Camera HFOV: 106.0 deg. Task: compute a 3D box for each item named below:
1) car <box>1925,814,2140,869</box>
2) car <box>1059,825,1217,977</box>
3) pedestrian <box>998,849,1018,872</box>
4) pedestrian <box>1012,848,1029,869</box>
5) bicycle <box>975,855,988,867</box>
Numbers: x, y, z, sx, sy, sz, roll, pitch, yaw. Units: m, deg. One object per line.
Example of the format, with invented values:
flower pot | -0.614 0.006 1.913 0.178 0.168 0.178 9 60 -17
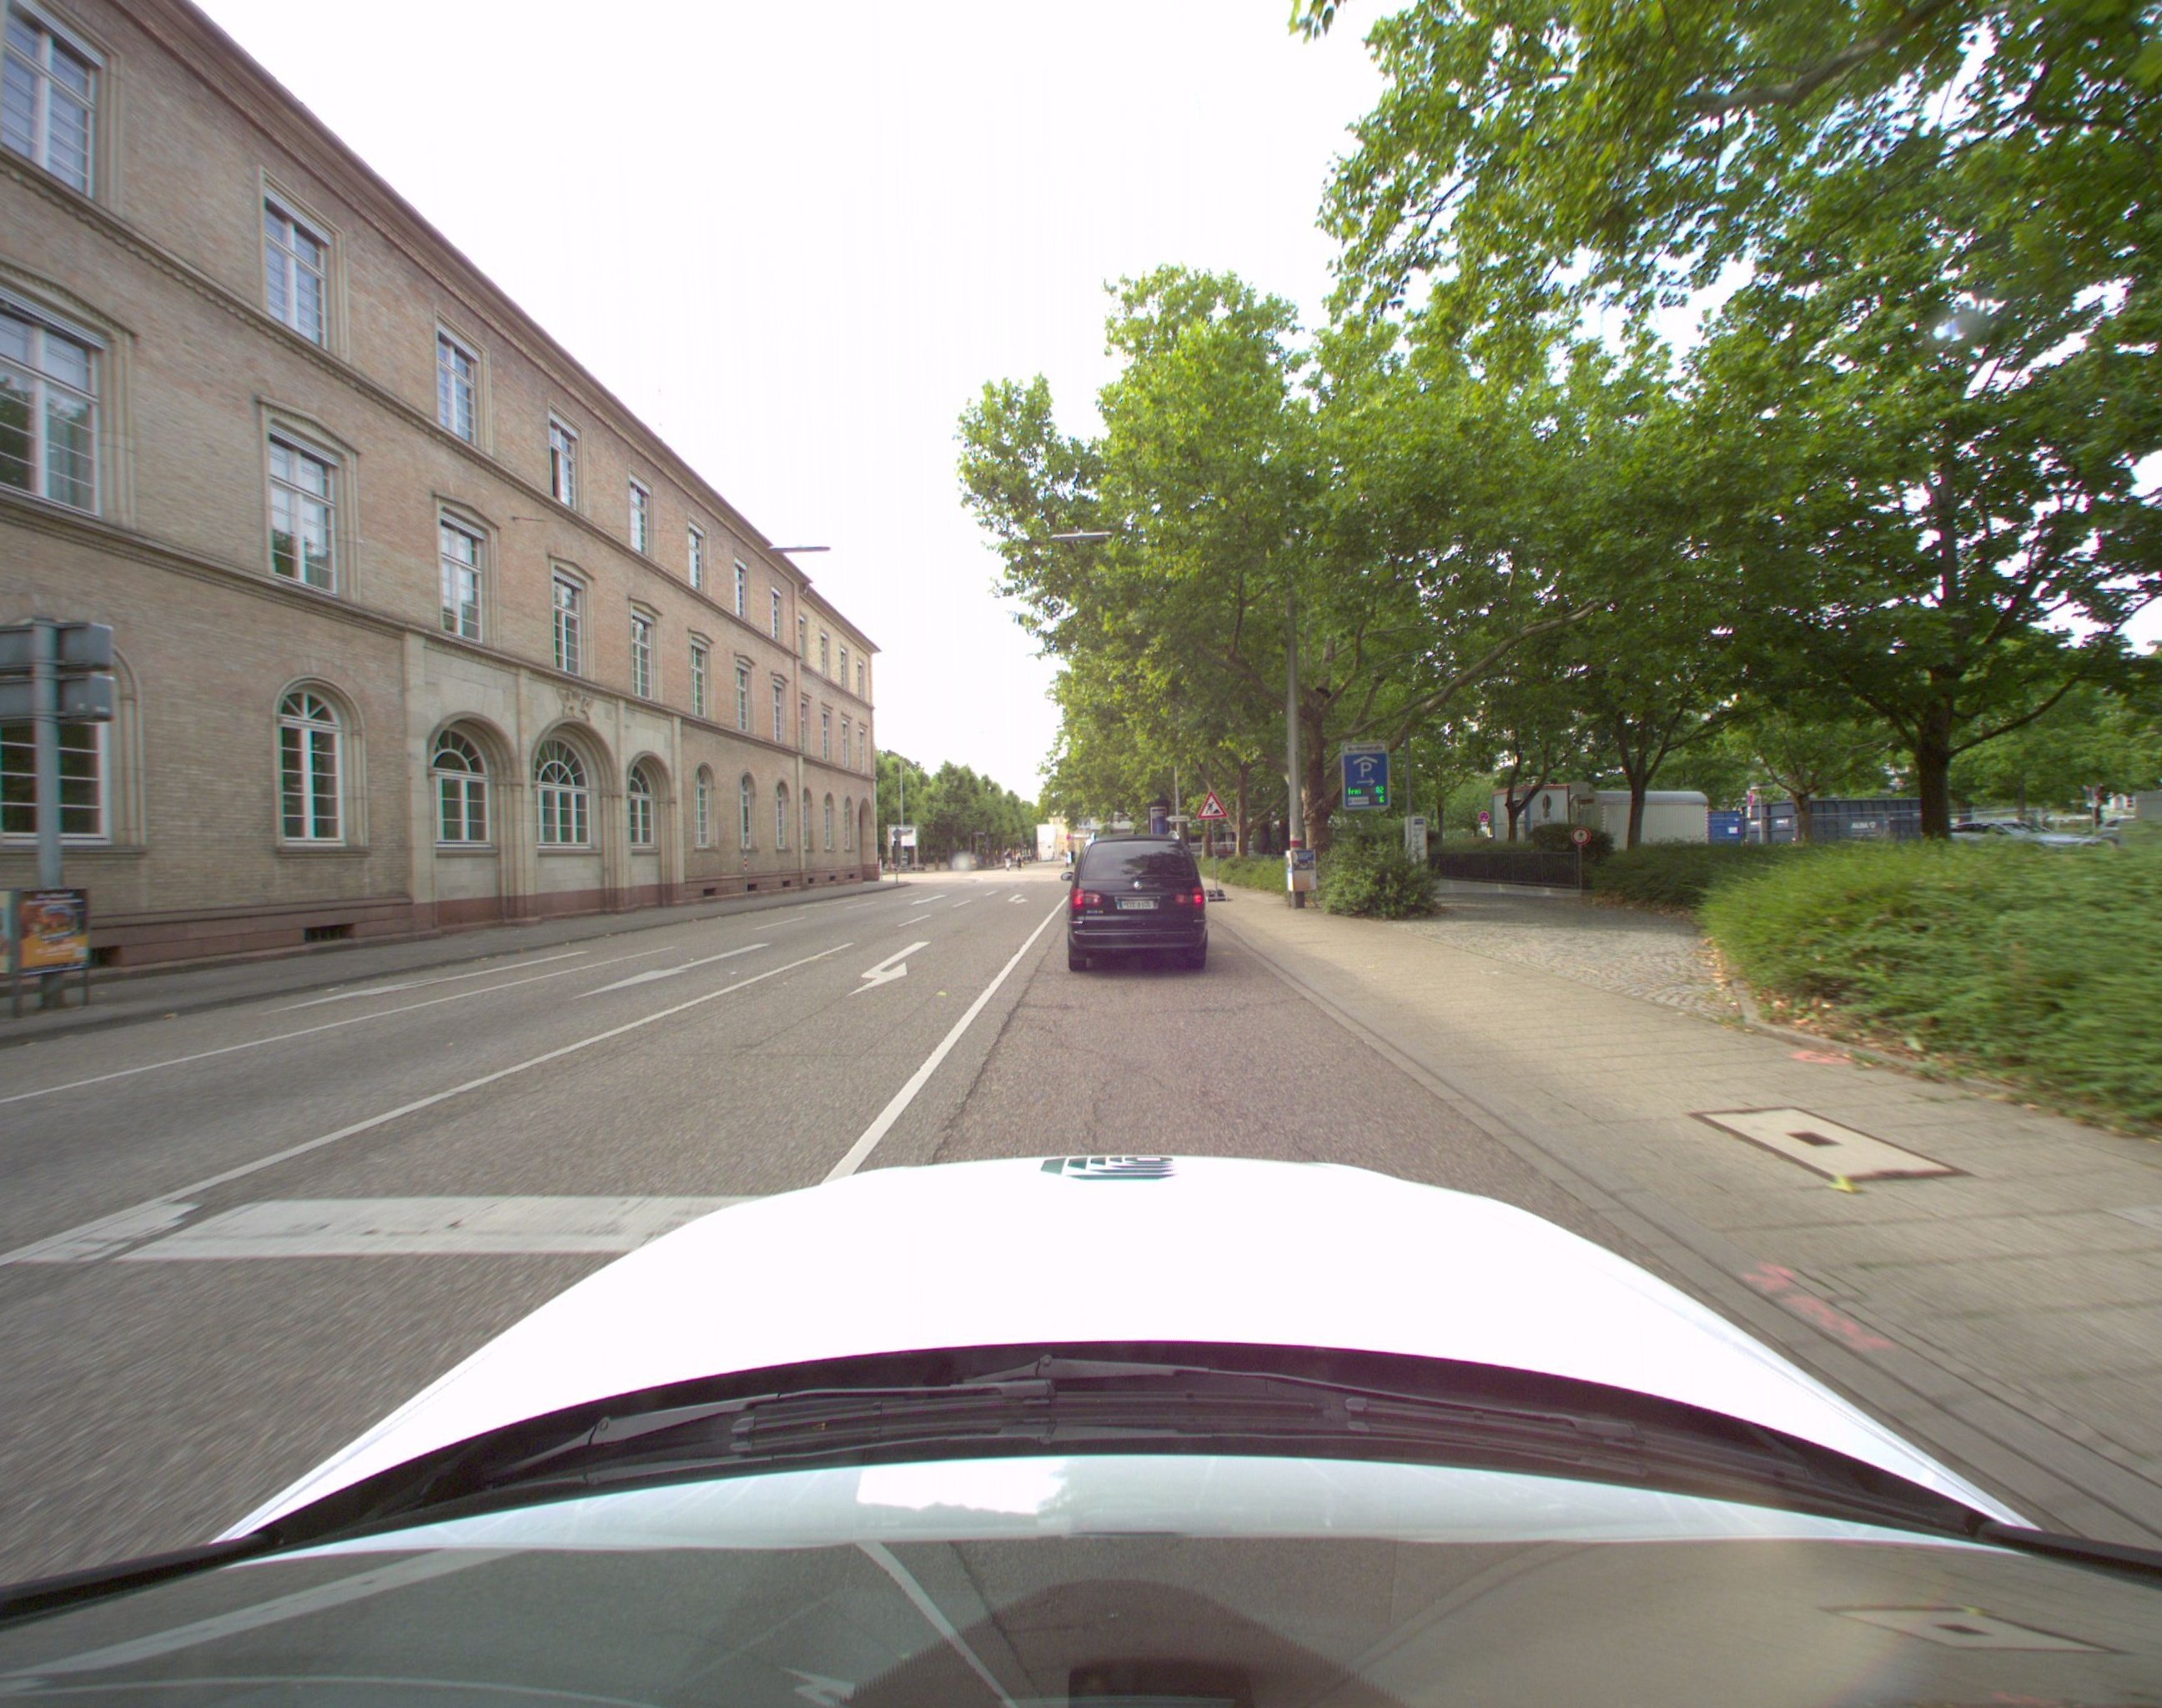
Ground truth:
car | 33.196 -0.432 28.686 1.988 1.794 4.771 0 1 -1
car | 0.693 0.528 11.541 1.787 1.708 4.131 -2 0 1
pedestrian | -5.632 0.511 62.761 0.951 1.741 1.263 0 0 40
pedestrian | -4.647 0.345 62.520 0.887 1.641 0.858 0 0 37
bicycle | -10.077 0.685 82.223 0.954 1.110 2.566 0 1 -16
